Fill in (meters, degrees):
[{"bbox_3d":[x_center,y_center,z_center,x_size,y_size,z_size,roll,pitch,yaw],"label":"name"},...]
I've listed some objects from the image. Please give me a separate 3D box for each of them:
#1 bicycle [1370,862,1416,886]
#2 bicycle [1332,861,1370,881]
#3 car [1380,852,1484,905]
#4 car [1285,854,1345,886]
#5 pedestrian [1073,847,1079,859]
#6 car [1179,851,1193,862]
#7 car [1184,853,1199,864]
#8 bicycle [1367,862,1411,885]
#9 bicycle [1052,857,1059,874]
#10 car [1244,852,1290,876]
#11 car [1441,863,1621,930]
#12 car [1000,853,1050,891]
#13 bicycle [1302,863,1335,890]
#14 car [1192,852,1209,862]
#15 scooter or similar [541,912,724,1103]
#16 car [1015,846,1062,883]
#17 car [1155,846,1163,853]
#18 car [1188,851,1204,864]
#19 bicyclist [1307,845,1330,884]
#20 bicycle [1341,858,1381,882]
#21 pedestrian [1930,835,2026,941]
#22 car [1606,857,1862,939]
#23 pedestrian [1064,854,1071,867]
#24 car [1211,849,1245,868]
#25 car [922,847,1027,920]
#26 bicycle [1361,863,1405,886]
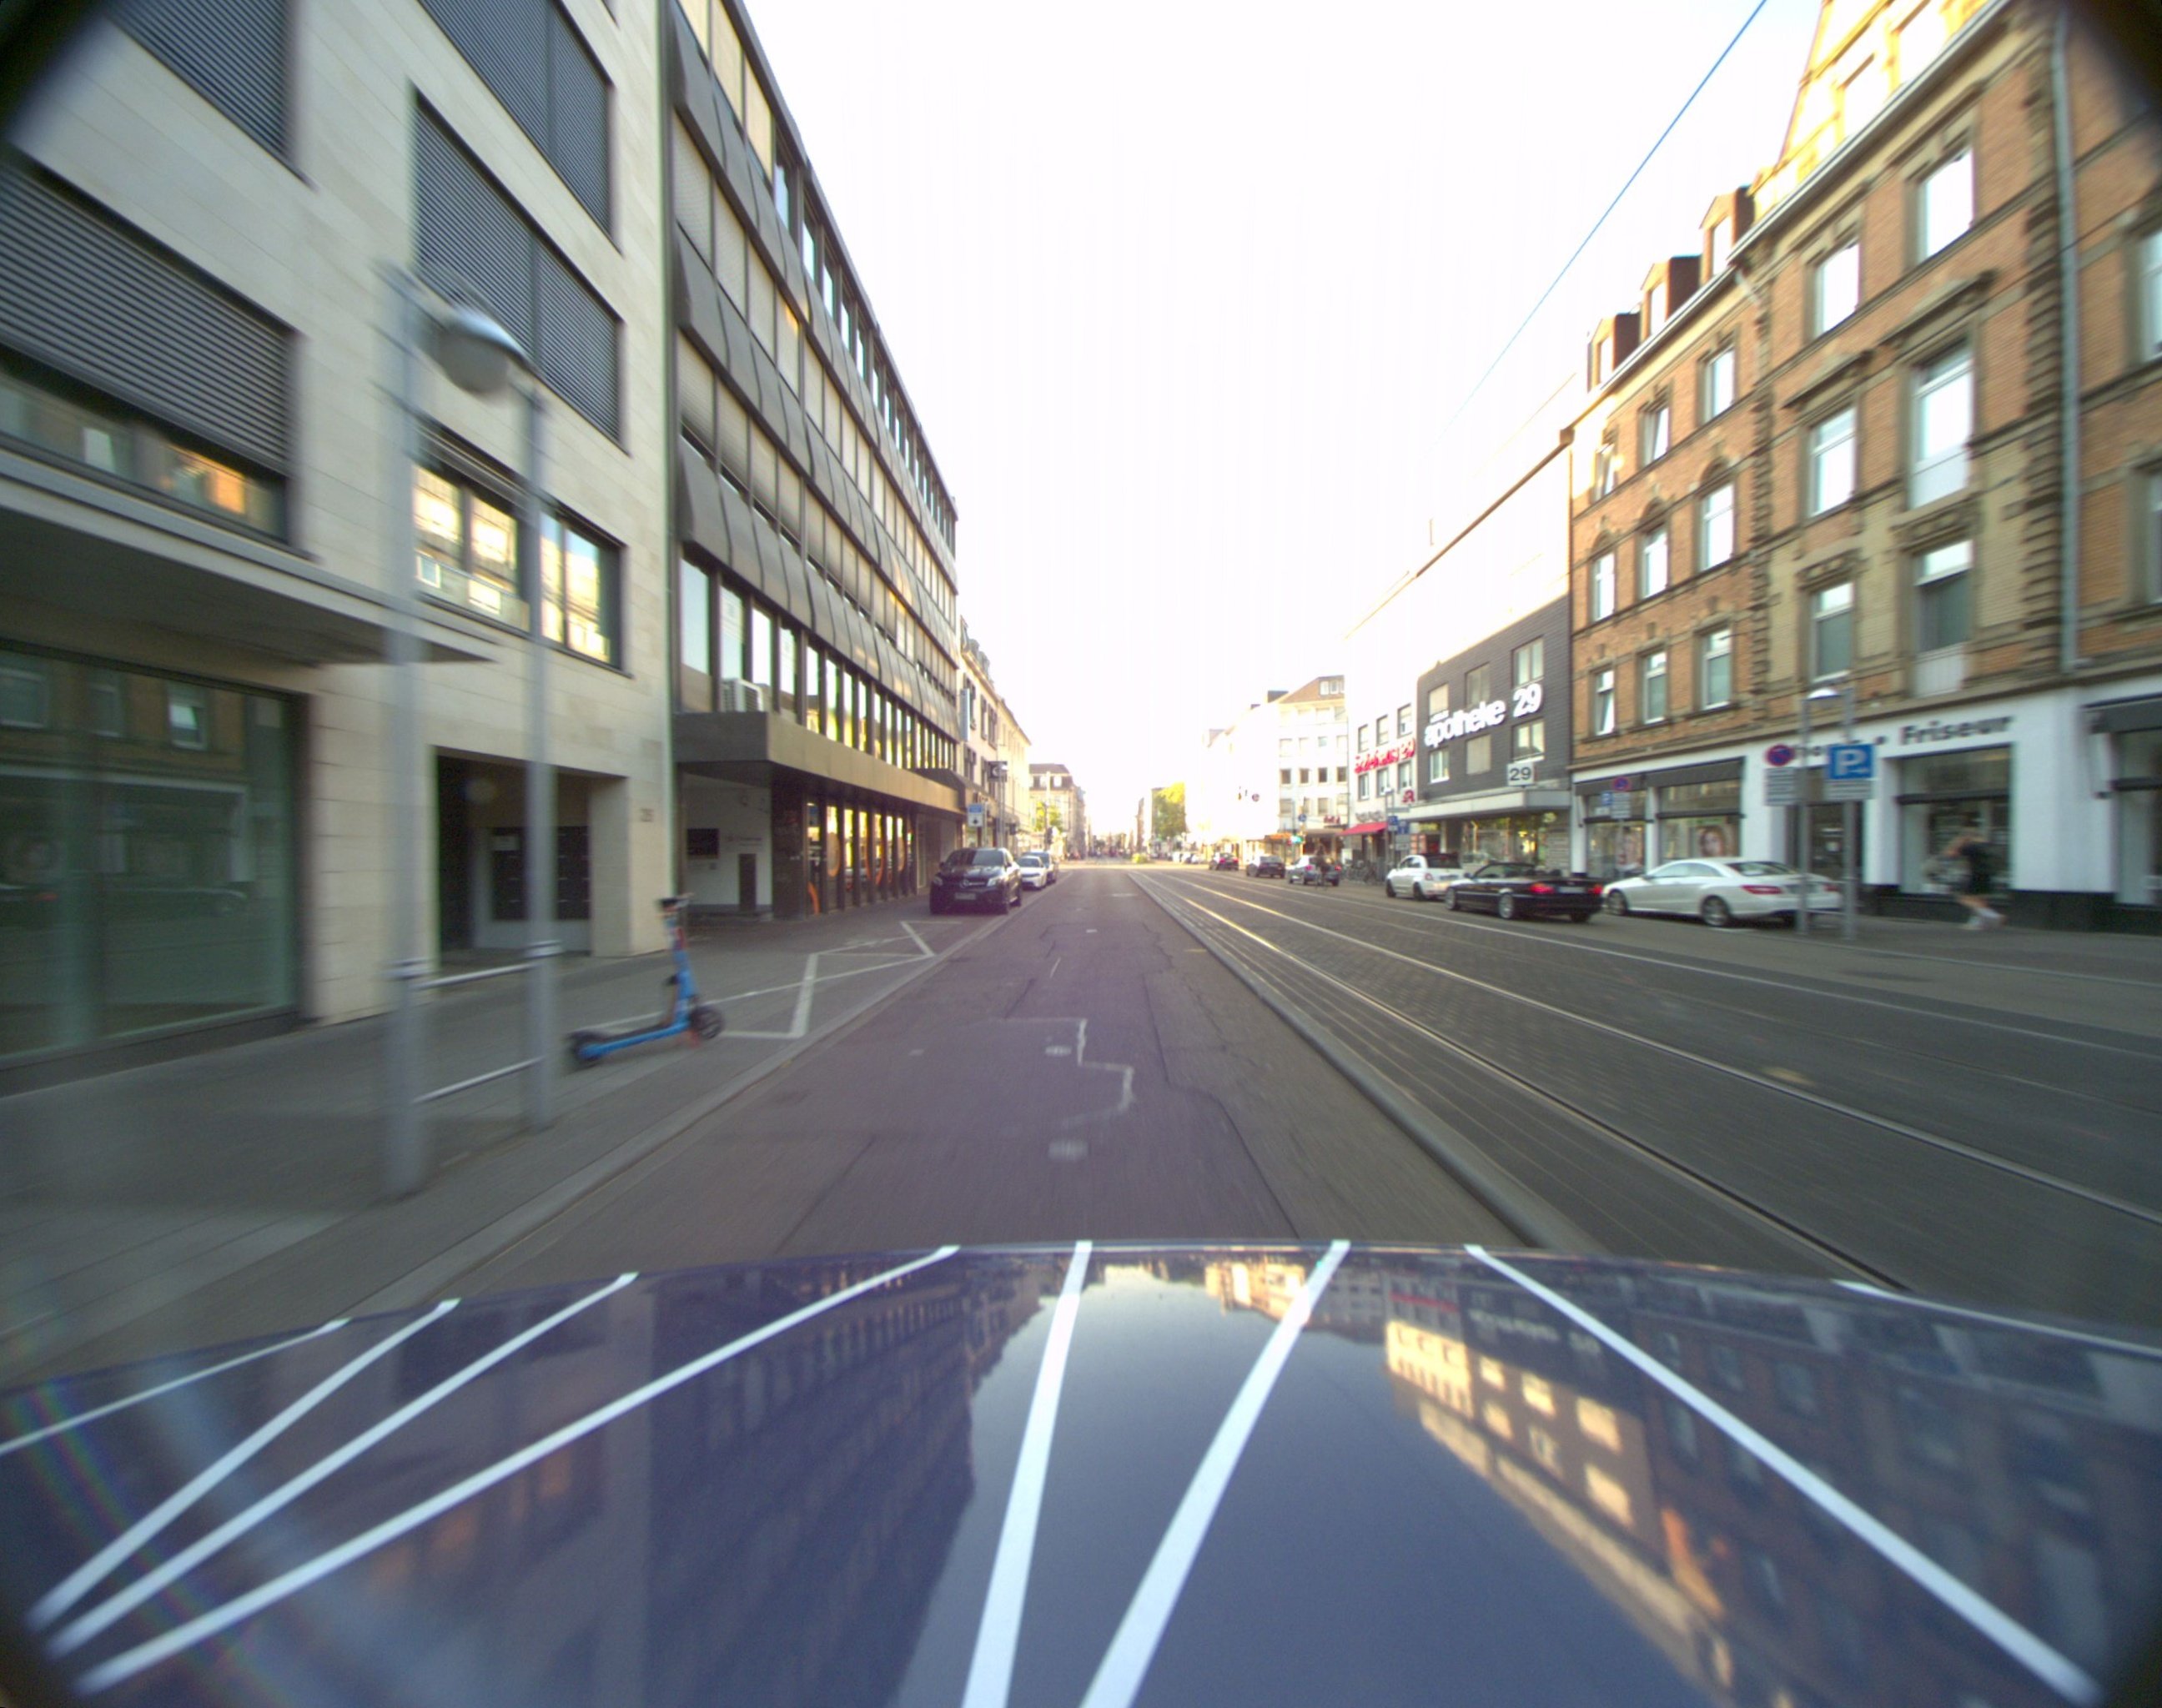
[{"bbox_3d":[14.457,0.912,35.207,1.860,0.978,0.462,-3,1,2],"label":"bicycle"},{"bbox_3d":[14.720,0.911,41.441,1.860,0.978,0.607,-3,1,2],"label":"bicycle"},{"bbox_3d":[11.164,0.724,24.461,1.671,1.497,3.680,2,1,2],"label":"car"},{"bbox_3d":[11.156,0.709,36.529,1.762,1.378,4.061,2,1,3],"label":"car"},{"bbox_3d":[-0.657,-0.125,100.404,0.806,1.603,0.994,-2,2,1],"label":"pedestrian"},{"bbox_3d":[16.309,0.433,118.335,1.847,1.626,4.001,0,0,4],"label":"car"},{"bbox_3d":[16.028,0.619,110.454,1.847,1.626,4.001,0,0,4],"label":"car"},{"bbox_3d":[14.471,0.918,35.723,1.860,0.978,0.462,-3,1,2],"label":"bicycle"},{"bbox_3d":[-1.768,0.792,52.684,0.479,1.083,1.647,1,1,-1],"label":"bicycle"},{"bbox_3d":[11.528,0.598,47.380,1.919,1.378,4.564,2,1,3],"label":"car"},{"bbox_3d":[10.139,0.894,17.538,1.671,1.221,4.273,2,1,2],"label":"car"},{"bbox_3d":[-2.378,0.723,33.164,1.770,1.477,3.872,2,1,2],"label":"car"},{"bbox_3d":[9.625,0.907,30.840,0.695,1.028,2.081,0,1,1],"label":"bicycle"},{"bbox_3d":[15.622,0.387,99.590,1.847,1.287,4.001,0,0,4],"label":"car"},{"bbox_3d":[-3.337,1.086,5.725,0.354,1.217,1.118,3,1,35],"label":"scooter or similar"},{"bbox_3d":[-2.105,0.499,38.844,1.919,1.707,4.564,2,1,3],"label":"car"},{"bbox_3d":[18.752,-1.162,183.089,1.847,1.626,4.001,0,0,4],"label":"car"},{"bbox_3d":[15.725,0.471,104.208,1.847,1.626,4.001,0,0,4],"label":"car"},{"bbox_3d":[9.631,0.407,30.876,0.695,1.556,0.799,0,1,1],"label":"bicyclist"},{"bbox_3d":[14.750,0.850,40.017,1.860,1.128,0.607,-3,1,2],"label":"bicycle"},{"bbox_3d":[15.613,0.575,13.253,0.649,1.762,0.855,-2,1,2],"label":"pedestrian"},{"bbox_3d":[13.624,0.827,16.256,1.763,1.381,4.273,-3,0,0],"label":"car"},{"bbox_3d":[-1.772,0.850,100.280,0.806,1.603,0.994,-2,2,1],"label":"pedestrian"},{"bbox_3d":[11.706,0.319,60.758,1.919,1.378,4.564,2,1,3],"label":"car"},{"bbox_3d":[-2.770,0.705,20.875,1.988,1.724,4.671,2,1,3],"label":"car"},{"bbox_3d":[14.502,0.968,36.478,1.860,0.978,0.492,-3,1,2],"label":"bicycle"}]
